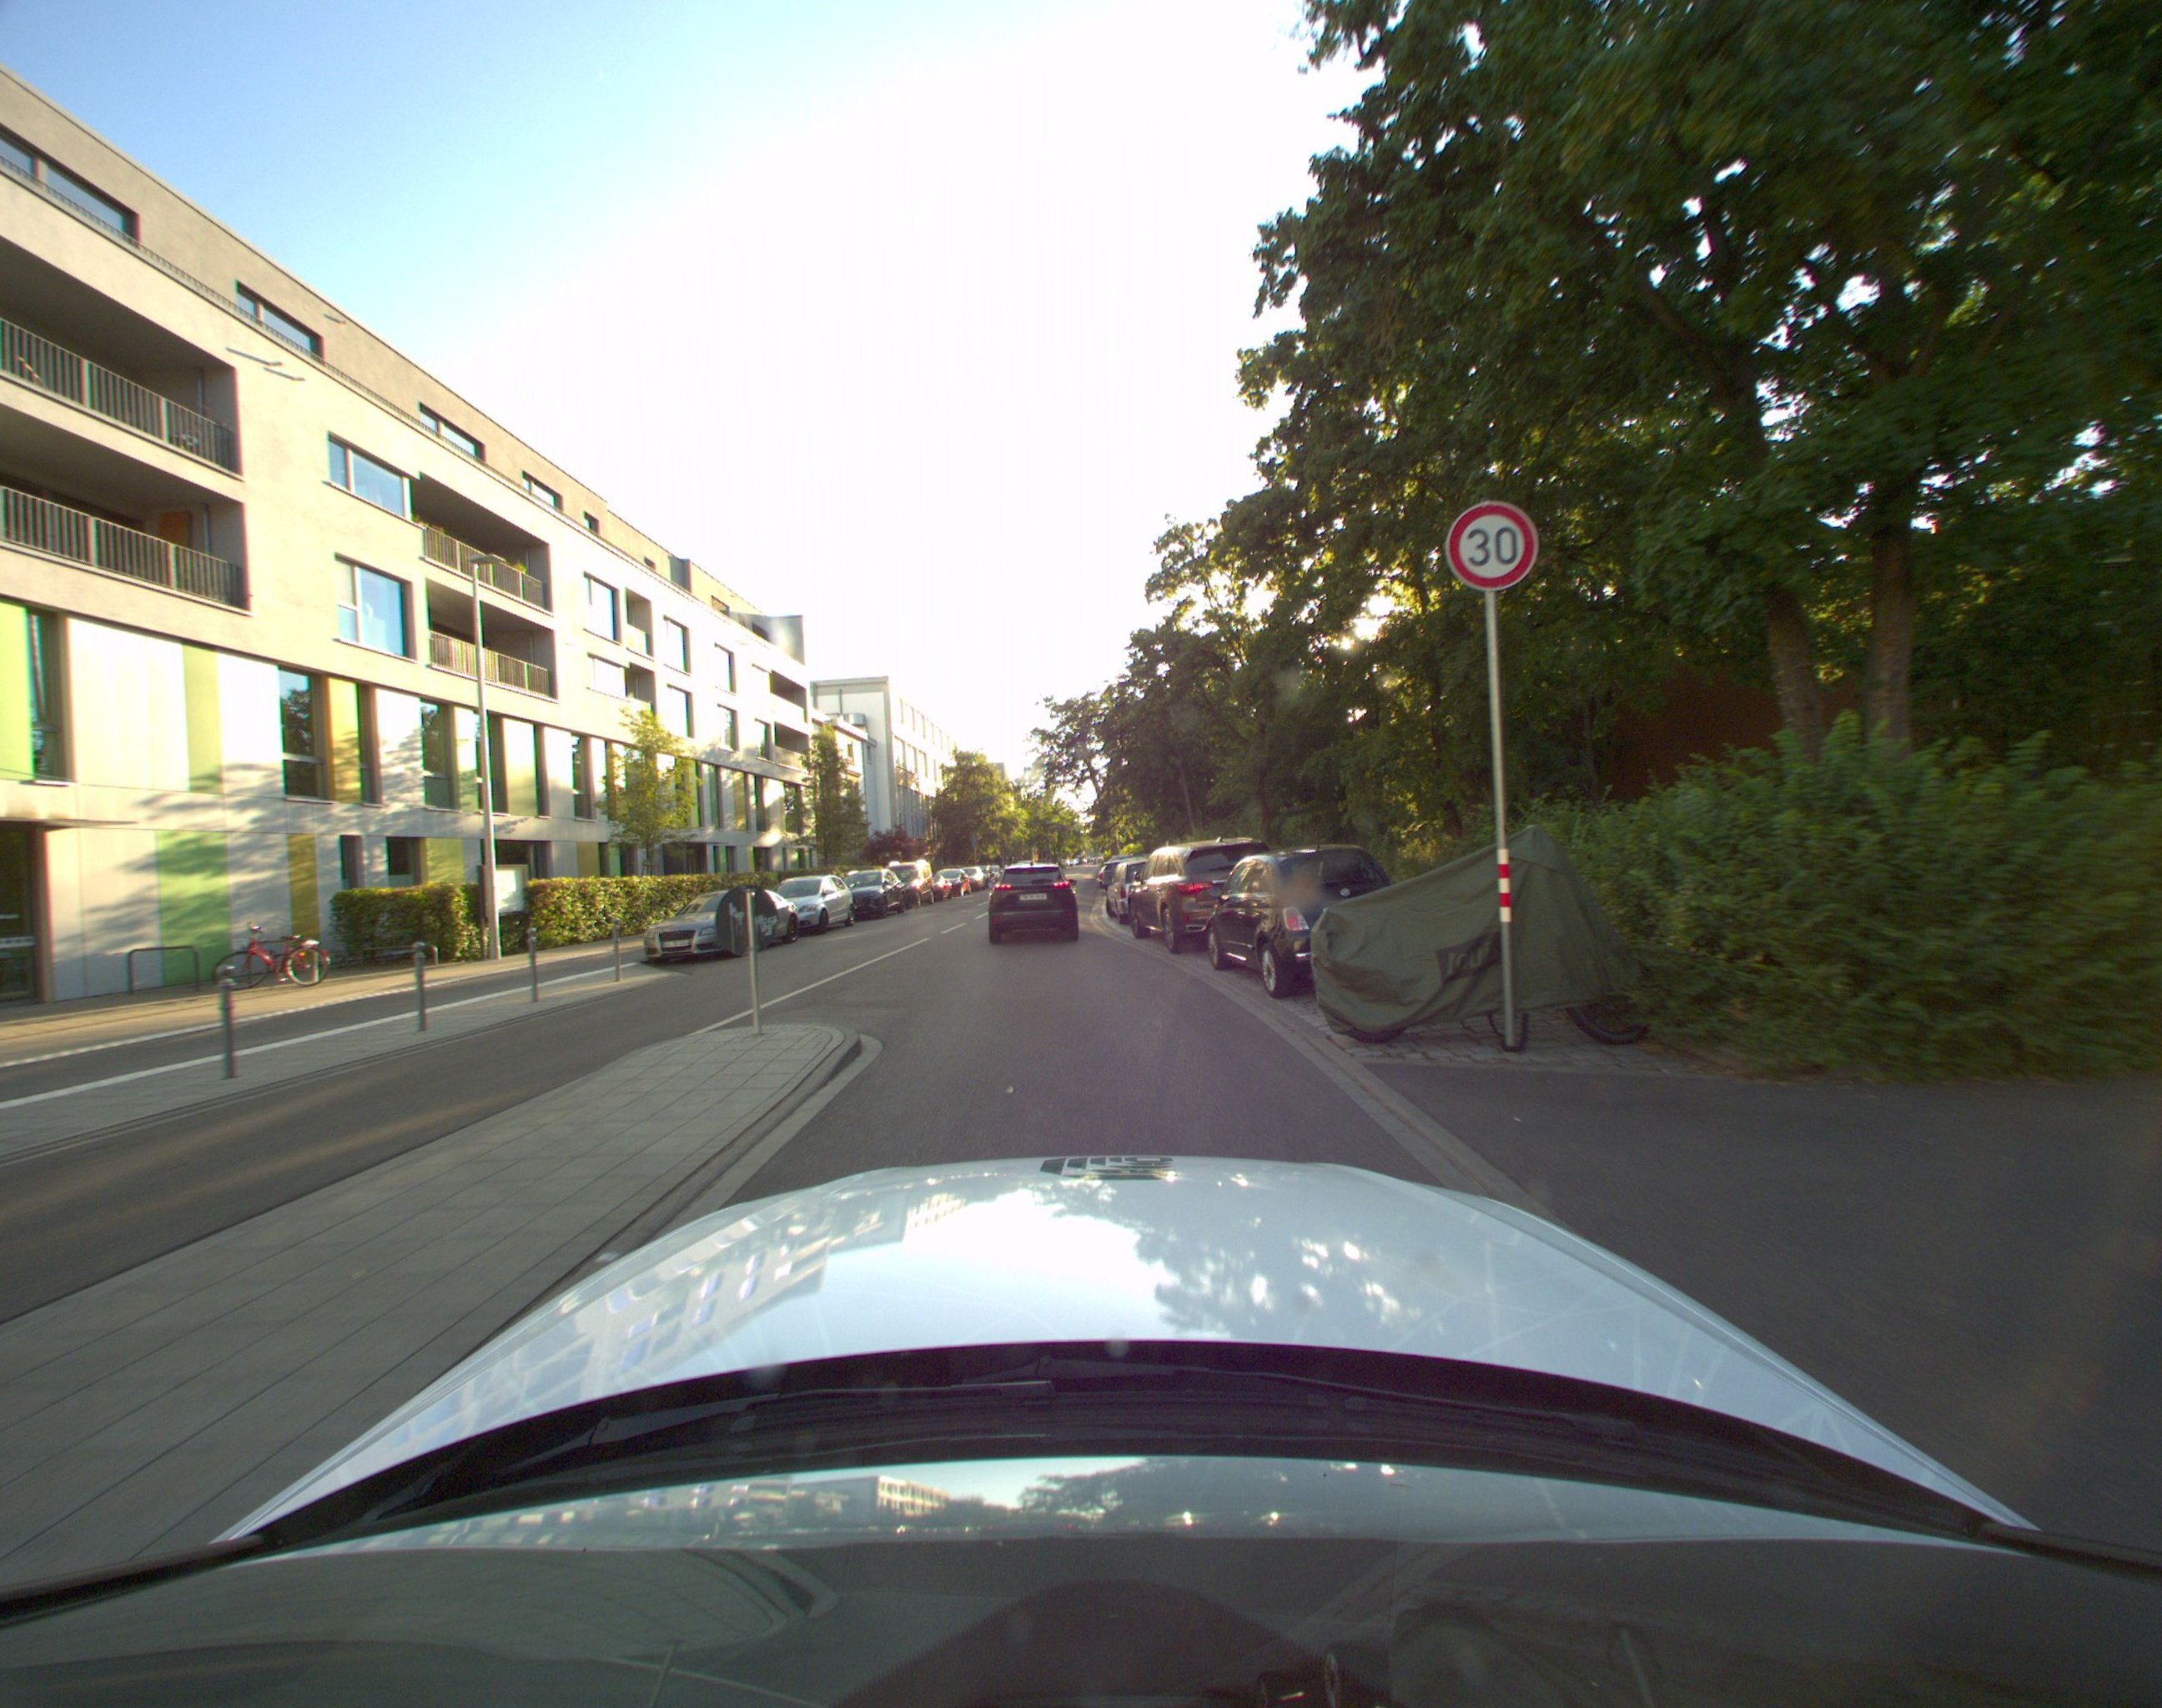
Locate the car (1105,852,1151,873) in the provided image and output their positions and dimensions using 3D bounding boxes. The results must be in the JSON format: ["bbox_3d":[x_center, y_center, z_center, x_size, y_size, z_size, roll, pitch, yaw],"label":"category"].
[{"bbox_3d":[4.308,0.815,75.602,4.107,1.667,1.723,-4,0,1],"label":"car"}]

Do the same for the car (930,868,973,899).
[{"bbox_3d":[-6.855,1.532,43.428,1.593,1.455,3.861,-4,0,0],"label":"car"}]

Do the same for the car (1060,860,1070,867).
[{"bbox_3d":[-3.284,1.884,165.569,1.806,1.354,3.995,-4,0,-3],"label":"car"}]

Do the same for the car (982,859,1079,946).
[{"bbox_3d":[-0.987,0.921,16.963,1.763,1.568,3.378,-2,0,-1],"label":"car"}]

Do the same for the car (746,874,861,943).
[{"bbox_3d":[-7.630,1.439,22.826,1.737,1.533,4.114,-4,0,0],"label":"car"}]

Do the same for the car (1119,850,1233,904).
[{"bbox_3d":[3.142,0.752,27.466,3.613,1.540,1.672,-4,0,1],"label":"car"}]

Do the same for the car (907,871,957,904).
[{"bbox_3d":[-7.052,1.563,38.824,1.551,1.280,3.733,-5,0,1],"label":"car"}]

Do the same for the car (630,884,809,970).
[{"bbox_3d":[-7.629,1.469,17.711,1.736,1.356,4.398,-4,0,2],"label":"car"}]

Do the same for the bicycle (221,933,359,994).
[{"bbox_3d":[-13.767,1.894,14.197,1.746,0.918,0.617,-2,-1,-1],"label":"bicycle"}]

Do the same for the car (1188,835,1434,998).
[{"bbox_3d":[2.509,0.628,9.742,1.617,1.486,3.412,-4,0,-5],"label":"car"}]

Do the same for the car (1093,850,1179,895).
[{"bbox_3d":[2.418,0.813,36.407,3.599,1.525,1.671,-7,0,-1],"label":"car"}]

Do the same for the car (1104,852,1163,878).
[{"bbox_3d":[3.965,0.839,62.294,4.321,1.475,1.743,-6,1,2],"label":"car"}]

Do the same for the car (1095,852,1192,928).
[{"bbox_3d":[1.432,0.830,20.307,1.648,1.567,4.293,-4,0,-5],"label":"car"}]

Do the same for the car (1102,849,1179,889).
[{"bbox_3d":[2.987,0.741,41.461,3.655,1.552,1.734,-7,0,-1],"label":"car"}]

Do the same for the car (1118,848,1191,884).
[{"bbox_3d":[3.916,0.634,44.109,3.712,1.498,1.821,-7,-1,1],"label":"car"}]

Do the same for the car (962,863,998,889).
[{"bbox_3d":[-6.716,1.437,54.492,1.592,1.507,3.791,-5,0,3],"label":"car"}]

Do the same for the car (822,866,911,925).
[{"bbox_3d":[-7.325,1.373,28.309,1.736,1.676,4.417,-5,0,1],"label":"car"}]

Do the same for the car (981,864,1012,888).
[{"bbox_3d":[-6.104,1.580,59.383,1.595,1.493,3.774,-5,0,2],"label":"car"}]

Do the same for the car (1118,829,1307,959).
[{"bbox_3d":[2.039,0.607,14.226,1.920,1.748,4.654,-4,0,-7],"label":"car"}]

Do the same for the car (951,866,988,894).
[{"bbox_3d":[-6.766,1.535,49.791,1.593,1.455,4.055,-5,0,1],"label":"car"}]

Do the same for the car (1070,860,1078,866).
[{"bbox_3d":[-1.849,2.315,215.710,1.806,1.354,3.997,-4,0,-2],"label":"car"}]

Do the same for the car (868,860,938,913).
[{"bbox_3d":[-7.290,1.282,33.784,1.801,1.889,4.238,-5,0,1],"label":"car"}]

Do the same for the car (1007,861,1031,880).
[{"bbox_3d":[-5.843,1.547,76.655,1.664,1.493,4.063,-5,0,2],"label":"car"}]

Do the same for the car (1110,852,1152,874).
[{"bbox_3d":[4.435,0.808,73.119,3.577,1.566,1.818,-5,-1,0],"label":"car"}]

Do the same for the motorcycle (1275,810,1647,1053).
[{"bbox_3d":[2.797,0.548,6.169,2.270,1.545,1.046,-4,-1,29],"label":"motorcycle"}]

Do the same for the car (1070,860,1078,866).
[{"bbox_3d":[-1.869,2.255,205.647,1.806,1.354,3.975,-4,0,-2],"label":"car"}]

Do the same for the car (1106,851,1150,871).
[{"bbox_3d":[4.622,0.713,80.338,4.150,1.710,1.870,-3,0,5],"label":"car"}]

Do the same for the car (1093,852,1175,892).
[{"bbox_3d":[2.478,0.841,38.787,3.655,1.444,1.734,-7,0,-1],"label":"car"}]
